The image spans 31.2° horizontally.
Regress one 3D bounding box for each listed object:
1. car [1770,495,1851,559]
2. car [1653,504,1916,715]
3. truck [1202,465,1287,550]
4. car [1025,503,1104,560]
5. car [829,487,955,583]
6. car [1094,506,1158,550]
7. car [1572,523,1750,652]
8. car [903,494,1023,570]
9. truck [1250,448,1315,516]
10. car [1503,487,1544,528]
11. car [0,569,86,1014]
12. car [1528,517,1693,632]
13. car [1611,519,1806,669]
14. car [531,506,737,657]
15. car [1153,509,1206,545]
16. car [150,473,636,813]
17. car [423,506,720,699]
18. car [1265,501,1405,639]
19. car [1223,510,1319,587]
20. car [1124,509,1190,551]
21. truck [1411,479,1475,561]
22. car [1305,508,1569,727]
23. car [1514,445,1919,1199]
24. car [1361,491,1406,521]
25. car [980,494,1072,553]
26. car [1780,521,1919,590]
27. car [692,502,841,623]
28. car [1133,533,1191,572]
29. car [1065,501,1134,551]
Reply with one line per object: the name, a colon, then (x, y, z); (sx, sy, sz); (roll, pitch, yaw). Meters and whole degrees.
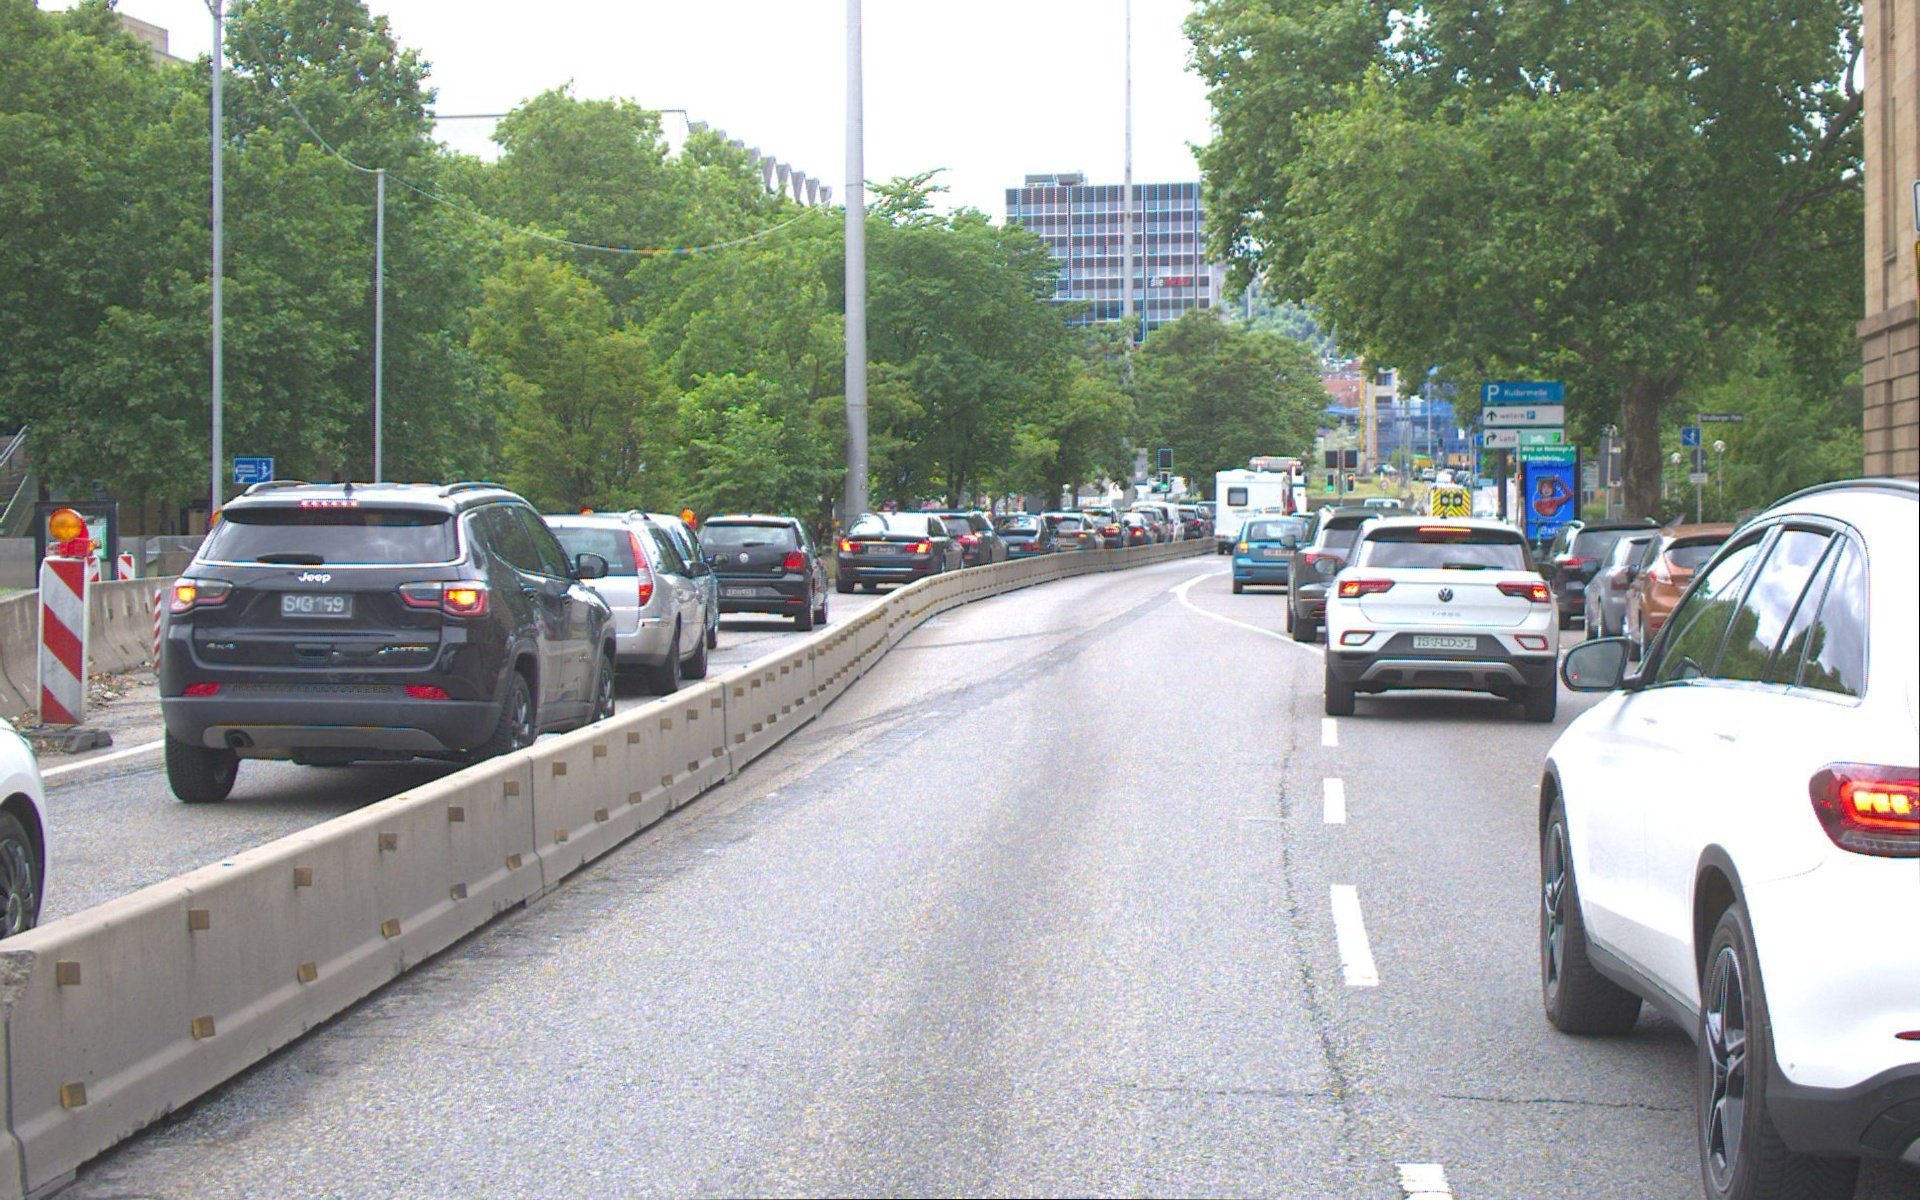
car: (22.737, -1.973, 91.989); (1.761, 1.546, 4.026); (0, 4, 9)
car: (6.697, 0.027, 28.239); (1.546, 1.546, 3.708); (-3, 1, 6)
truck: (10.102, -3.280, 121.685); (2.621, 2.851, 7.077); (2, 2, 7)
car: (2.788, -1.810, 90.944); (1.662, 1.431, 3.959); (1, 1, 8)
car: (-1.179, -1.180, 61.958); (1.923, 1.630, 4.936); (1, 1, 3)
car: (5.187, -2.240, 106.859); (1.660, 1.315, 3.546); (1, 1, 8)
car: (8.283, -0.183, 40.874); (1.709, 1.421, 3.996); (-1, 1, 6)
car: (0.096, -1.392, 69.956); (1.817, 1.494, 4.768); (0, 1, 8)
truck: (14.978, -5.446, 159.361); (2.692, 2.981, 5.636); (2, 1, 7)
car: (28.303, -4.615, 172.748); (1.994, 2.007, 3.999); (1, 1, 9)
car: (-3.725, 0.576, 8.953); (1.726, 1.291, 3.935); (1, 1, 3)
car: (8.858, -0.382, 47.118); (1.788, 1.481, 4.325); (1, 1, 5)
car: (7.747, -0.098, 35.837); (1.616, 1.450, 3.857); (-1, 1, 7)
car: (-3.420, -0.234, 36.686); (1.672, 1.501, 3.854); (1, 1, 2)
car: (8.351, -2.780, 130.569); (1.660, 1.315, 3.546); (1, 1, 9)
car: (-2.940, 0.167, 18.654); (1.776, 1.615, 4.046); (1, 1, 3)
car: (-3.187, -0.035, 29.087); (1.878, 1.476, 4.705); (1, 1, 1)
car: (4.633, -0.405, 42.696); (1.659, 1.633, 3.547); (0, 2, 5)
car: (5.968, -0.993, 65.712); (1.659, 1.408, 3.546); (1, 1, 8)
car: (6.415, -2.287, 111.616); (1.660, 1.315, 3.546); (1, 1, 11)
truck: (25.082, -4.171, 178.809); (2.878, 4.089, 6.637); (2, 2, 6)
car: (3.734, 0.078, 27.463); (1.796, 1.603, 3.755); (1, 2, 4)
car: (2.528, 0.513, 8.456); (1.788, 1.619, 4.437); (2, 1, 3)
car: (19.790, -4.383, 160.526); (1.948, 1.315, 4.015); (1, 1, 9)
car: (1.604, -1.833, 82.102); (1.678, 1.362, 4.542); (0, 2, 8)
car: (21.085, -1.043, 79.818); (3.837, 1.563, 1.679); (1, 1, 8)
car: (-2.440, -0.510, 44.162); (1.659, 1.449, 4.198); (1, 1, 0)
car: (7.110, -1.685, 120.634); (1.660, 1.315, 3.546); (1, 1, 9)
car: (4.040, -2.154, 99.087); (1.776, 1.415, 4.000); (0, 2, 6)
